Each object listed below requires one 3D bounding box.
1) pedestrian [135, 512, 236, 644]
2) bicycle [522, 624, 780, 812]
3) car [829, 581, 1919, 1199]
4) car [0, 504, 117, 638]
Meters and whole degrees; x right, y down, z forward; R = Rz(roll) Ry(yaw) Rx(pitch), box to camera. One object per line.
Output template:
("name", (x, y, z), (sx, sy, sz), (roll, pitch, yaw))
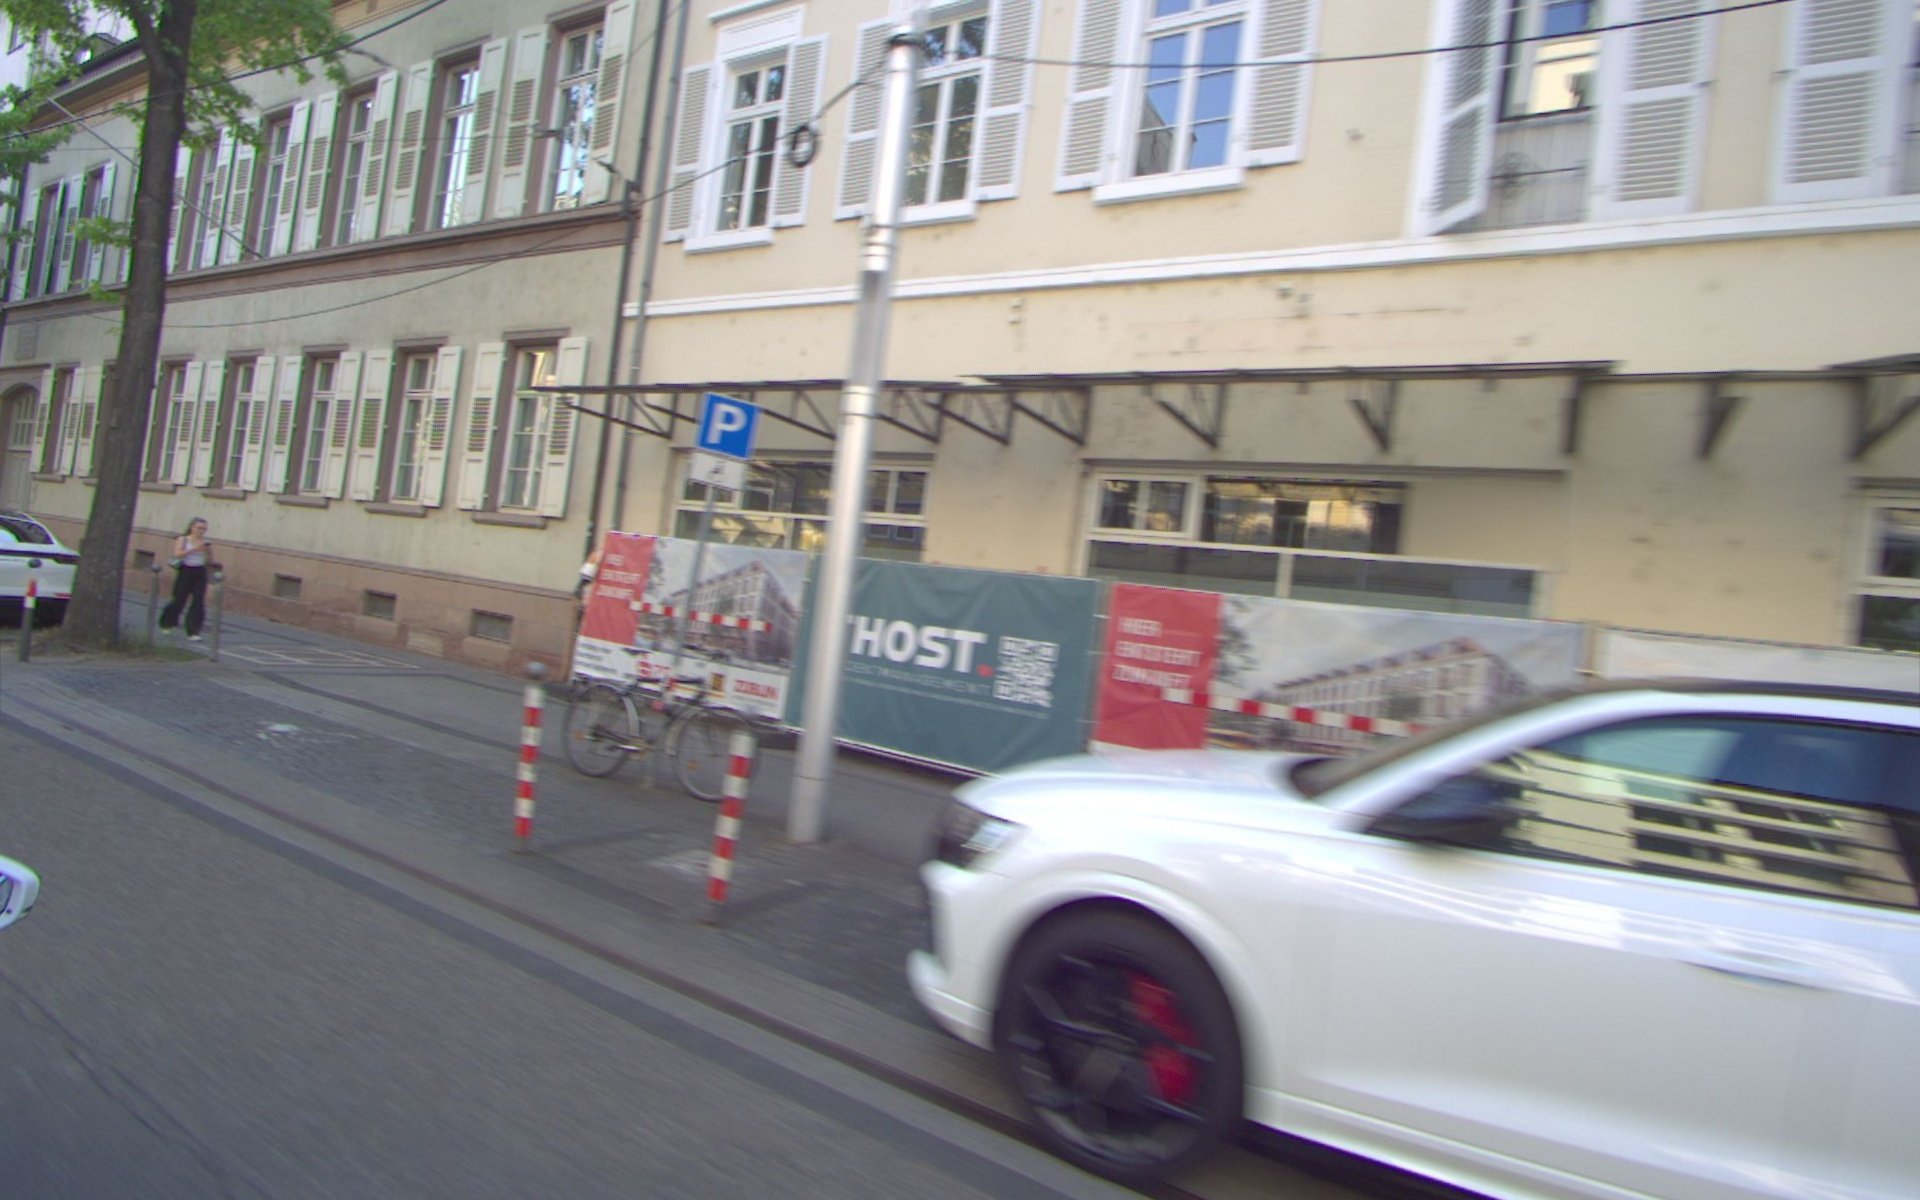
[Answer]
("pedestrian", (-10.103, -0.288, 13.128), (0.785, 1.592, 0.650), (7, -1, 31))
("bicycle", (-2.367, 0.849, 7.633), (1.952, 1.114, 0.419), (6, 1, 22))
("car", (2.230, 1.067, 3.162), (4.882, 1.709, 2.001), (6, 0, 29))
("car", (-12.822, -0.535, 12.680), (4.807, 1.438, 1.914), (7, 1, 32))
